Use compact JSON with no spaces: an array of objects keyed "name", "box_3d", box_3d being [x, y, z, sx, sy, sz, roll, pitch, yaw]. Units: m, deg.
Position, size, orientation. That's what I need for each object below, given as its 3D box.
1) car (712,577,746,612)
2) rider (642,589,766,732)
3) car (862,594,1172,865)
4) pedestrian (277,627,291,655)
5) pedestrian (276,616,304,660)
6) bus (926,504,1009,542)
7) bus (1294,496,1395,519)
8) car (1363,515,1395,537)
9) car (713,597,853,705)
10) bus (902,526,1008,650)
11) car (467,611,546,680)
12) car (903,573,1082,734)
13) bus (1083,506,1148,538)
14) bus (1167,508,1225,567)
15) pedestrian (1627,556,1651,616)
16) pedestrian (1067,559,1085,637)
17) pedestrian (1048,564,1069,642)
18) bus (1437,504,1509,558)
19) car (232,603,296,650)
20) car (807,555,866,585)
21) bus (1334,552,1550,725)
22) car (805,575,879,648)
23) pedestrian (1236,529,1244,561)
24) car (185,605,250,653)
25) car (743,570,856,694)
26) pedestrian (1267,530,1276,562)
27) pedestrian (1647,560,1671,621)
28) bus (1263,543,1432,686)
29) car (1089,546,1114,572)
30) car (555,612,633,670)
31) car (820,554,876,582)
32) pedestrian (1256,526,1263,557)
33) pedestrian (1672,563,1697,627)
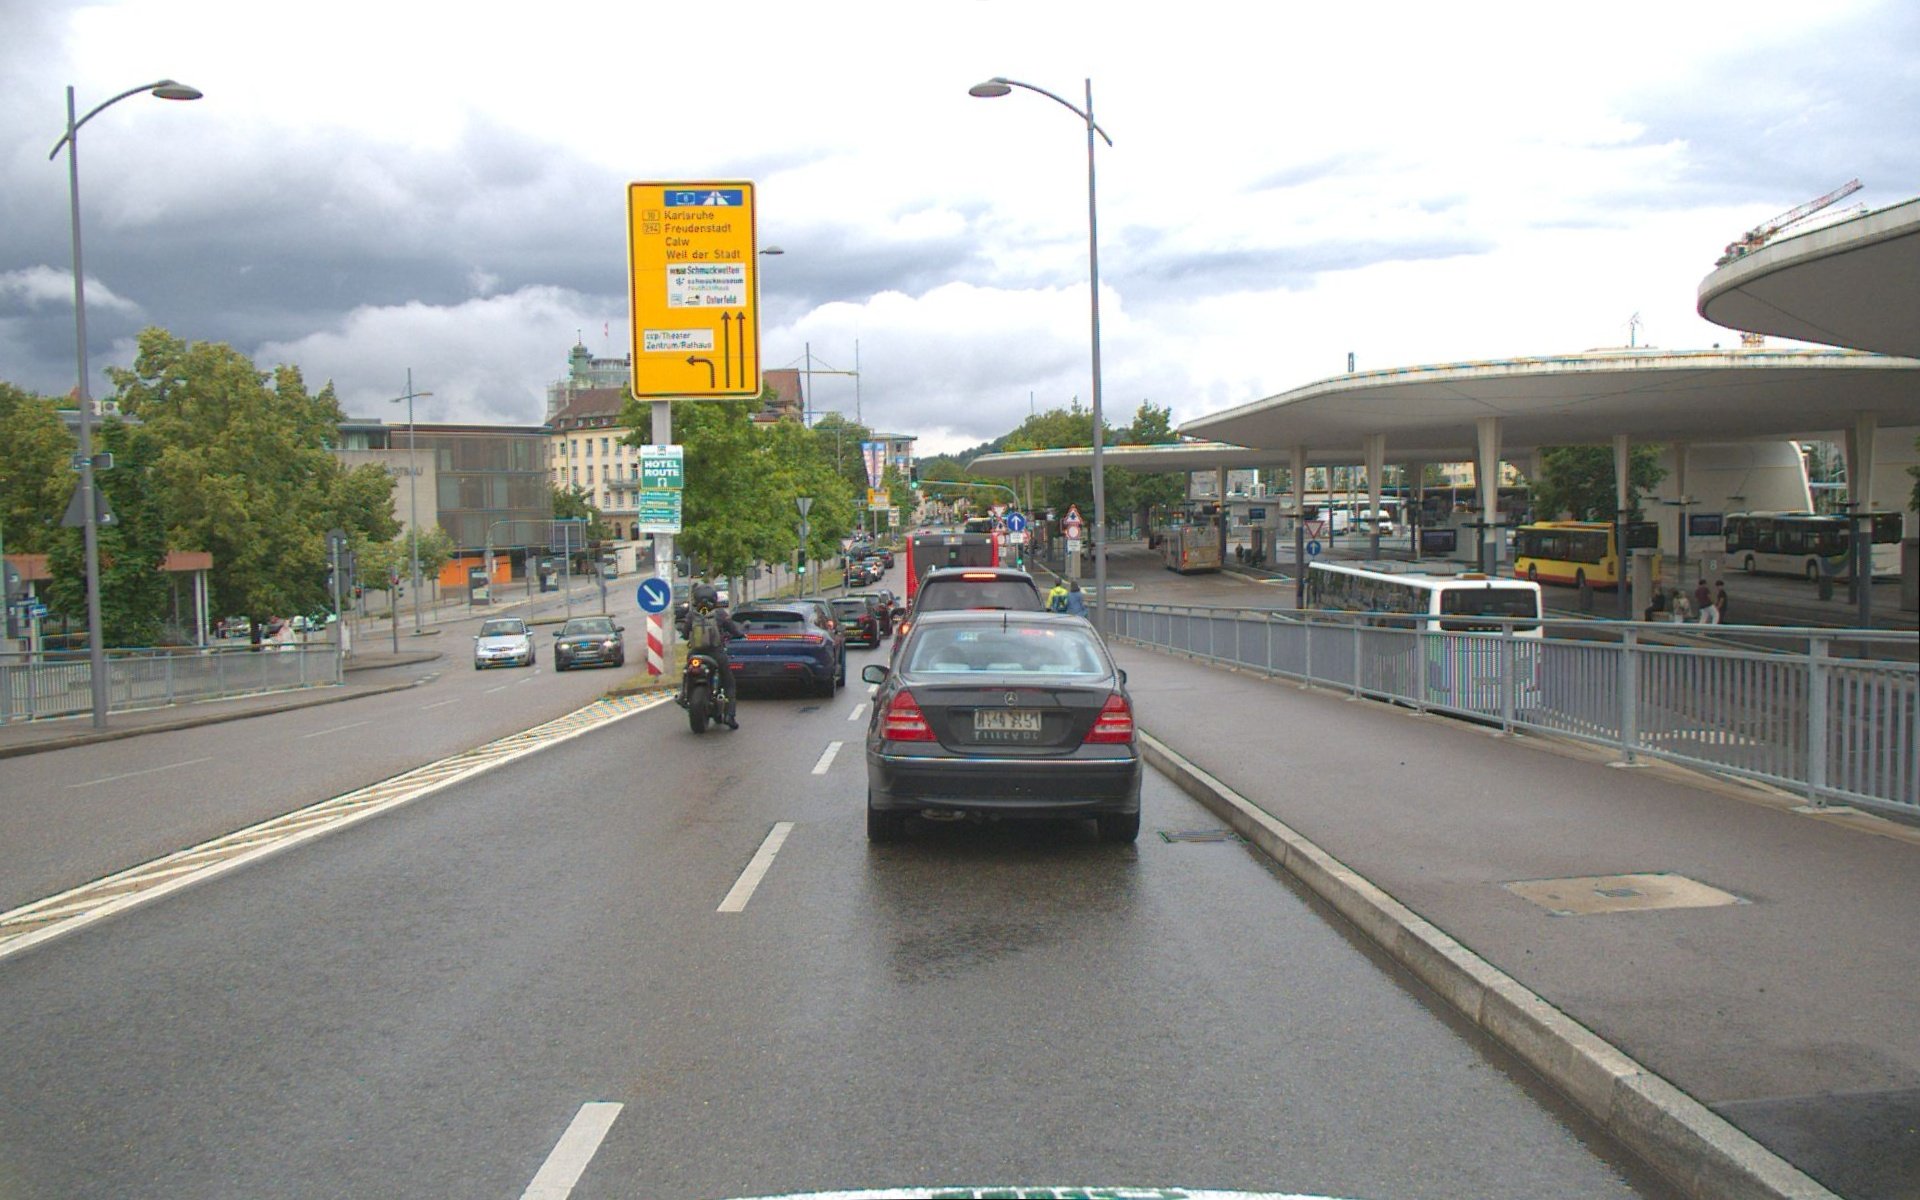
[{"name":"car","box_3d":[-14.263,-0.331,102.278,1.956,2.049,4.195,-2,0,-7]},{"name":"rider","box_3d":[-2.863,0.637,18.736,0.862,1.497,2.197,1,1,5]},{"name":"car","box_3d":[0.343,0.704,10.928,1.671,1.444,3.726,1,0,1]},{"name":"pedestrian","box_3d":[-22.721,1.375,55.578,0.294,0.888,0.298,-2,2,2]},{"name":"pedestrian","box_3d":[-22.534,1.262,55.621,0.634,1.433,0.531,-2,2,2]},{"name":"bus","box_3d":[0.770,-8.687,184.987,3.235,4.076,10.744,-5,5,-38]},{"name":"bus","box_3d":[39.612,-9.550,170.616,9.967,2.048,2.169,-2,1,-4]},{"name":"car","box_3d":[40.126,-7.077,158.457,1.953,2.048,4.000,-2,2,-1]},{"name":"car","box_3d":[-2.622,0.717,25.324,1.724,1.461,4.000,0,1,0]},{"name":"bus","box_3d":[-0.193,-0.370,48.331,2.770,3.245,10.307,0,1,-1]},{"name":"car","box_3d":[-14.887,1.454,54.474,1.956,2.049,3.993,-2,0,-8]},{"name":"car","box_3d":[0.486,0.542,19.718,1.788,1.716,4.003,0,1,6]},{"name":"bus","box_3d":[17.975,-9.026,191.501,7.057,3.455,3.080,-2,2,-4]},{"name":"bus","box_3d":[15.968,-4.160,112.544,3.111,3.663,10.516,-1,1,4]},{"name":"pedestrian","box_3d":[23.757,-0.491,57.884,0.532,2.048,0.579,-2,1,0]},{"name":"pedestrian","box_3d":[3.062,-0.045,43.645,0.415,2.049,0.483,-2,-1,1]},{"name":"pedestrian","box_3d":[2.617,0.075,43.827,0.479,2.049,0.470,-2,-1,1]},{"name":"bus","box_3d":[32.577,-4.401,105.240,2.546,3.265,6.996,-2,2,1]},{"name":"car","box_3d":[-34.683,1.318,82.341,1.979,2.048,3.948,3,1,-37]},{"name":"car","box_3d":[-8.860,-2.143,118.686,3.903,2.048,2.001,-2,1,4]},{"name":"bus","box_3d":[11.094,0.722,38.825,2.594,3.291,7.069,-2,4,-4]},{"name":"car","box_3d":[-3.400,0.295,48.429,1.953,2.041,3.999,0,1,-1]},{"name":"pedestrian","box_3d":[18.236,-3.568,107.594,0.415,2.048,0.483,-2,1,1]},{"name":"car","box_3d":[-36.310,1.397,80.841,1.979,2.048,3.948,3,1,-37]},{"name":"car","box_3d":[-3.362,0.754,35.369,1.952,2.042,3.999,0,-10,0]},{"name":"pedestrian","box_3d":[20.601,-3.575,109.400,0.415,2.049,0.483,-2,-1,1]},{"name":"pedestrian","box_3d":[23.883,-0.315,56.484,0.532,2.048,0.579,-2,1,0]},{"name":"bus","box_3d":[10.586,0.261,45.916,2.594,3.291,7.069,-2,4,-4]},{"name":"car","box_3d":[11.813,-3.419,137.994,1.951,2.048,4.003,-2,1,5]},{"name":"car","box_3d":[-10.601,1.167,48.199,1.799,1.553,4.586,-2,0,-8]},{"name":"car","box_3d":[-8.474,-2.423,125.265,3.903,2.048,2.001,-2,1,4]},{"name":"pedestrian","box_3d":[20.456,-3.987,112.971,0.415,2.048,0.483,-2,1,1]},{"name":"pedestrian","box_3d":[23.611,-0.162,53.888,0.549,2.048,0.483,-2,1,1]}]
